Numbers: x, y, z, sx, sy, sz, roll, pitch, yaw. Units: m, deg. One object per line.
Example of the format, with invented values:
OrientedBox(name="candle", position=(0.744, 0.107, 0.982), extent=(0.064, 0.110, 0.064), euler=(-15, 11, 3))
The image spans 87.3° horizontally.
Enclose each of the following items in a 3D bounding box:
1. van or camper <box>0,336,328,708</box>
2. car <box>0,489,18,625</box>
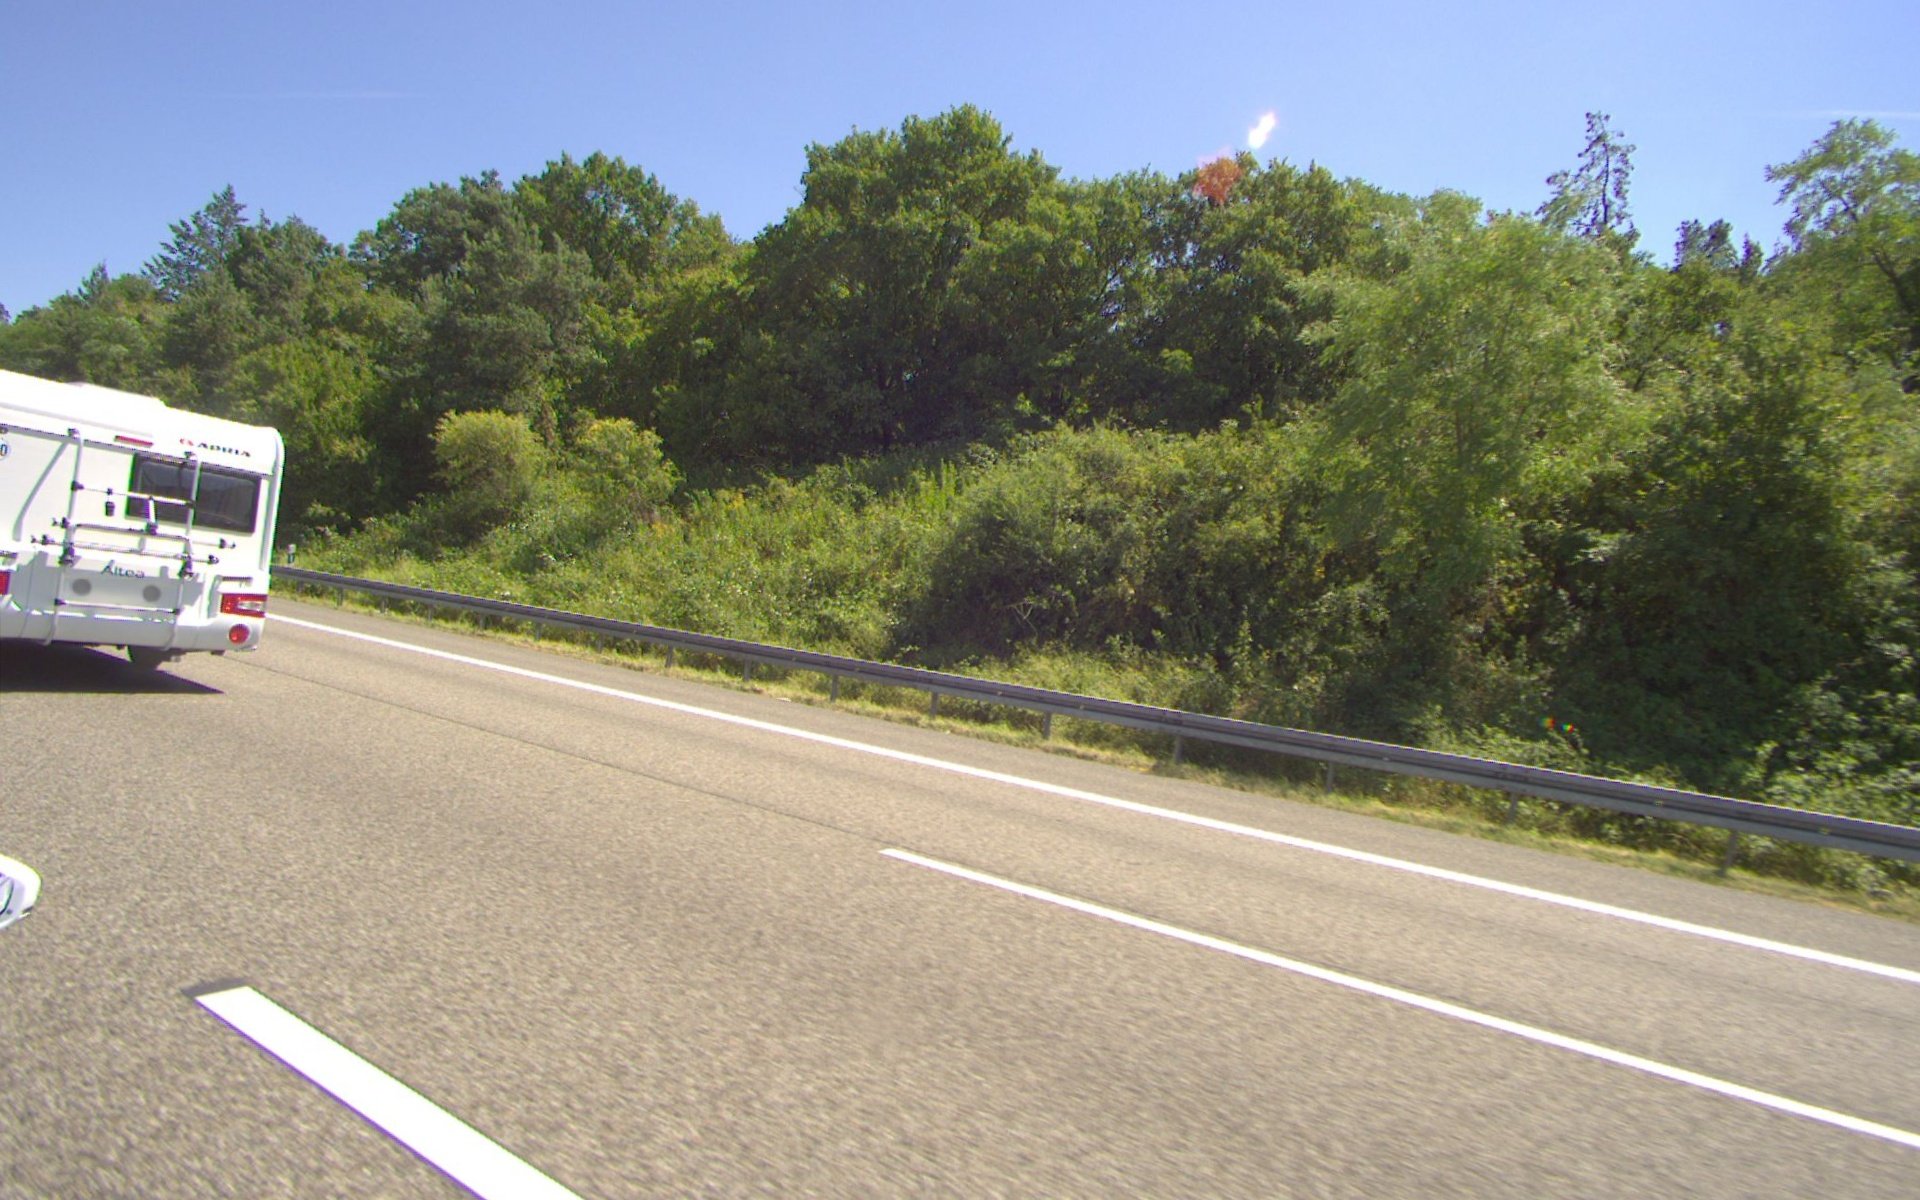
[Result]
OrientedBox(name="van or camper", position=(-9.203, -0.794, 9.812), extent=(6.244, 2.708, 2.442), euler=(7, 0, 32))
OrientedBox(name="car", position=(-13.934, -0.814, 12.638), extent=(4.625, 1.631, 1.882), euler=(7, -1, 33))
